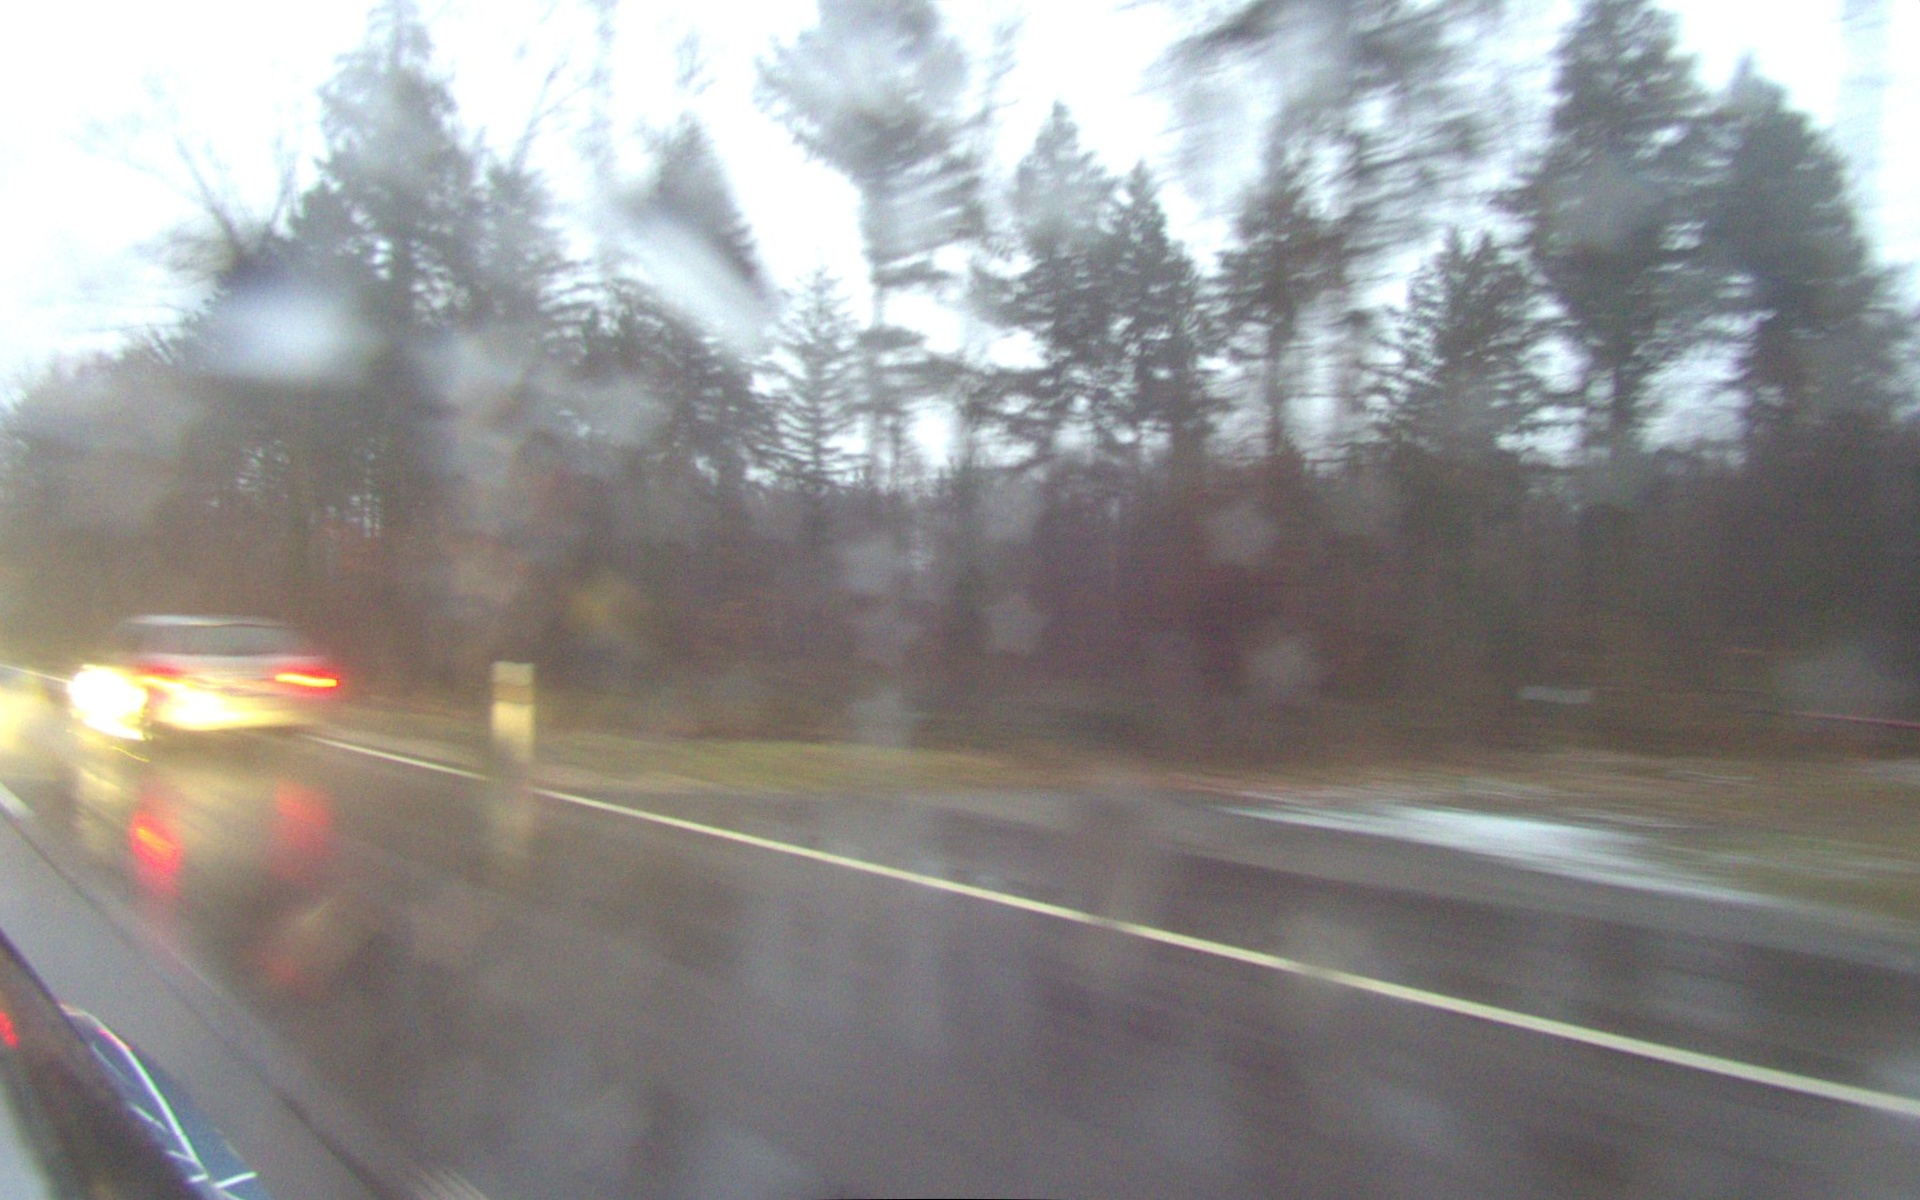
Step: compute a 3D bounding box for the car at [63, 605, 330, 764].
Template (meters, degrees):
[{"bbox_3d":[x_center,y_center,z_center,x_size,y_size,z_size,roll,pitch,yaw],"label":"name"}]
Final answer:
[{"bbox_3d":[-9.287,0.921,12.207,3.860,1.612,1.781,-1,-3,41],"label":"car"}]
